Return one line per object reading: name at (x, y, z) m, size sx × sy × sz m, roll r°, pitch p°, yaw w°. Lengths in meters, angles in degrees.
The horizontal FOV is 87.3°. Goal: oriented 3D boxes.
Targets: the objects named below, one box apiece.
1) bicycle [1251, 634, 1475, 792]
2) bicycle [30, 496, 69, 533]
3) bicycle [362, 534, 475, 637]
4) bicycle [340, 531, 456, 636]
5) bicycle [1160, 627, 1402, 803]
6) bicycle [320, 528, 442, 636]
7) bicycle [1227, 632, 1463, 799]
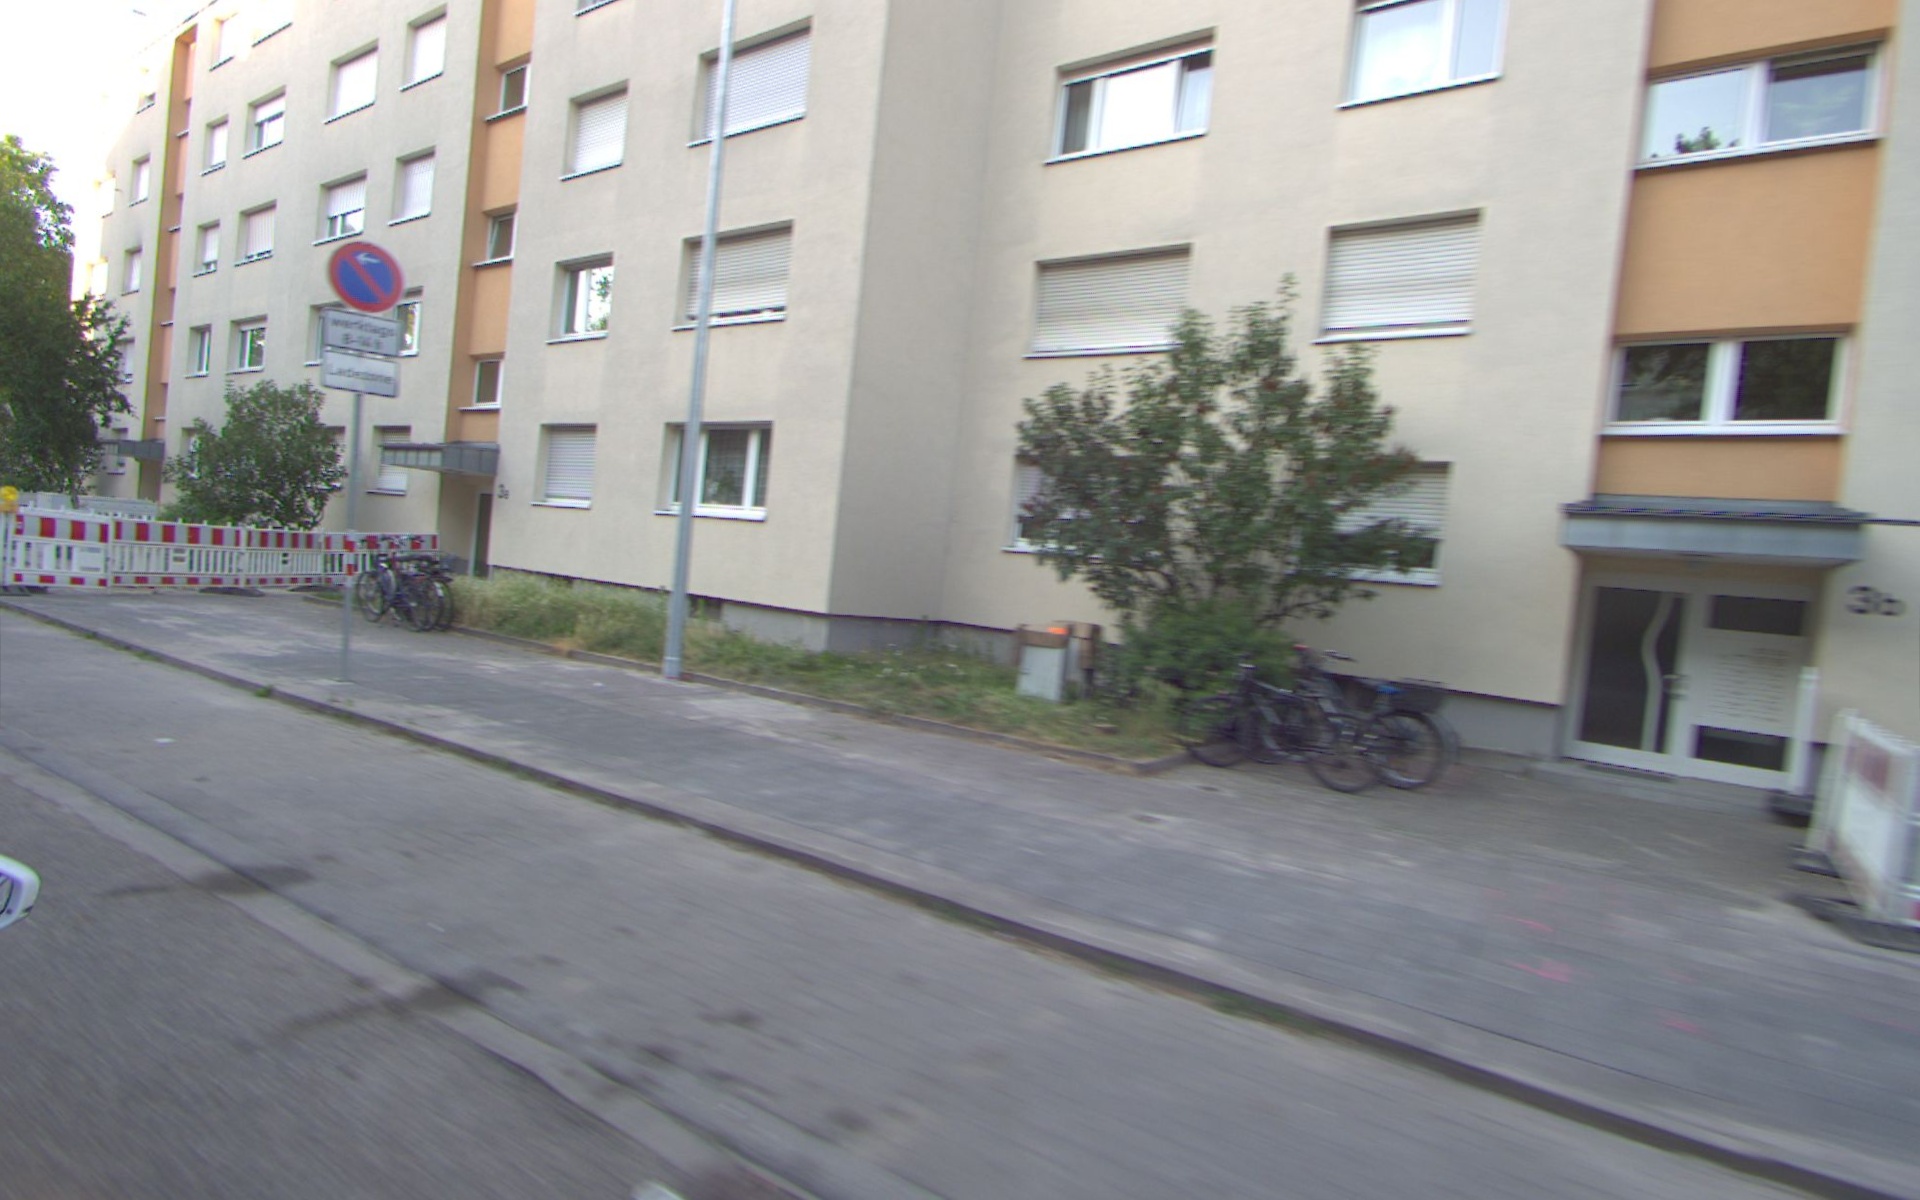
bicycle at (3.792, 1.027, 9.547) m, size 1.788 × 1.187 × 0.556 m, roll 7°, pitch 1°, yaw 35°
bicycle at (-26.725, -2.509, 29.550) m, size 0.540 × 0.980 × 1.797 m, roll 5°, pitch 1°, yaw -34°
bicycle at (-7.509, -0.213, 13.921) m, size 1.795 × 1.237 × 0.398 m, roll 7°, pitch 1°, yaw 30°
bicycle at (-7.695, -0.239, 13.743) m, size 1.879 × 1.237 × 0.398 m, roll 7°, pitch 1°, yaw 30°
bicycle at (2.724, 0.939, 8.653) m, size 1.788 × 1.187 × 0.556 m, roll 7°, pitch 1°, yaw 35°
bicycle at (-7.763, -0.253, 13.461) m, size 1.879 × 1.237 × 0.452 m, roll 7°, pitch 1°, yaw 30°
bicycle at (3.436, 0.991, 9.063) m, size 1.788 × 1.187 × 0.556 m, roll 7°, pitch 1°, yaw 35°
